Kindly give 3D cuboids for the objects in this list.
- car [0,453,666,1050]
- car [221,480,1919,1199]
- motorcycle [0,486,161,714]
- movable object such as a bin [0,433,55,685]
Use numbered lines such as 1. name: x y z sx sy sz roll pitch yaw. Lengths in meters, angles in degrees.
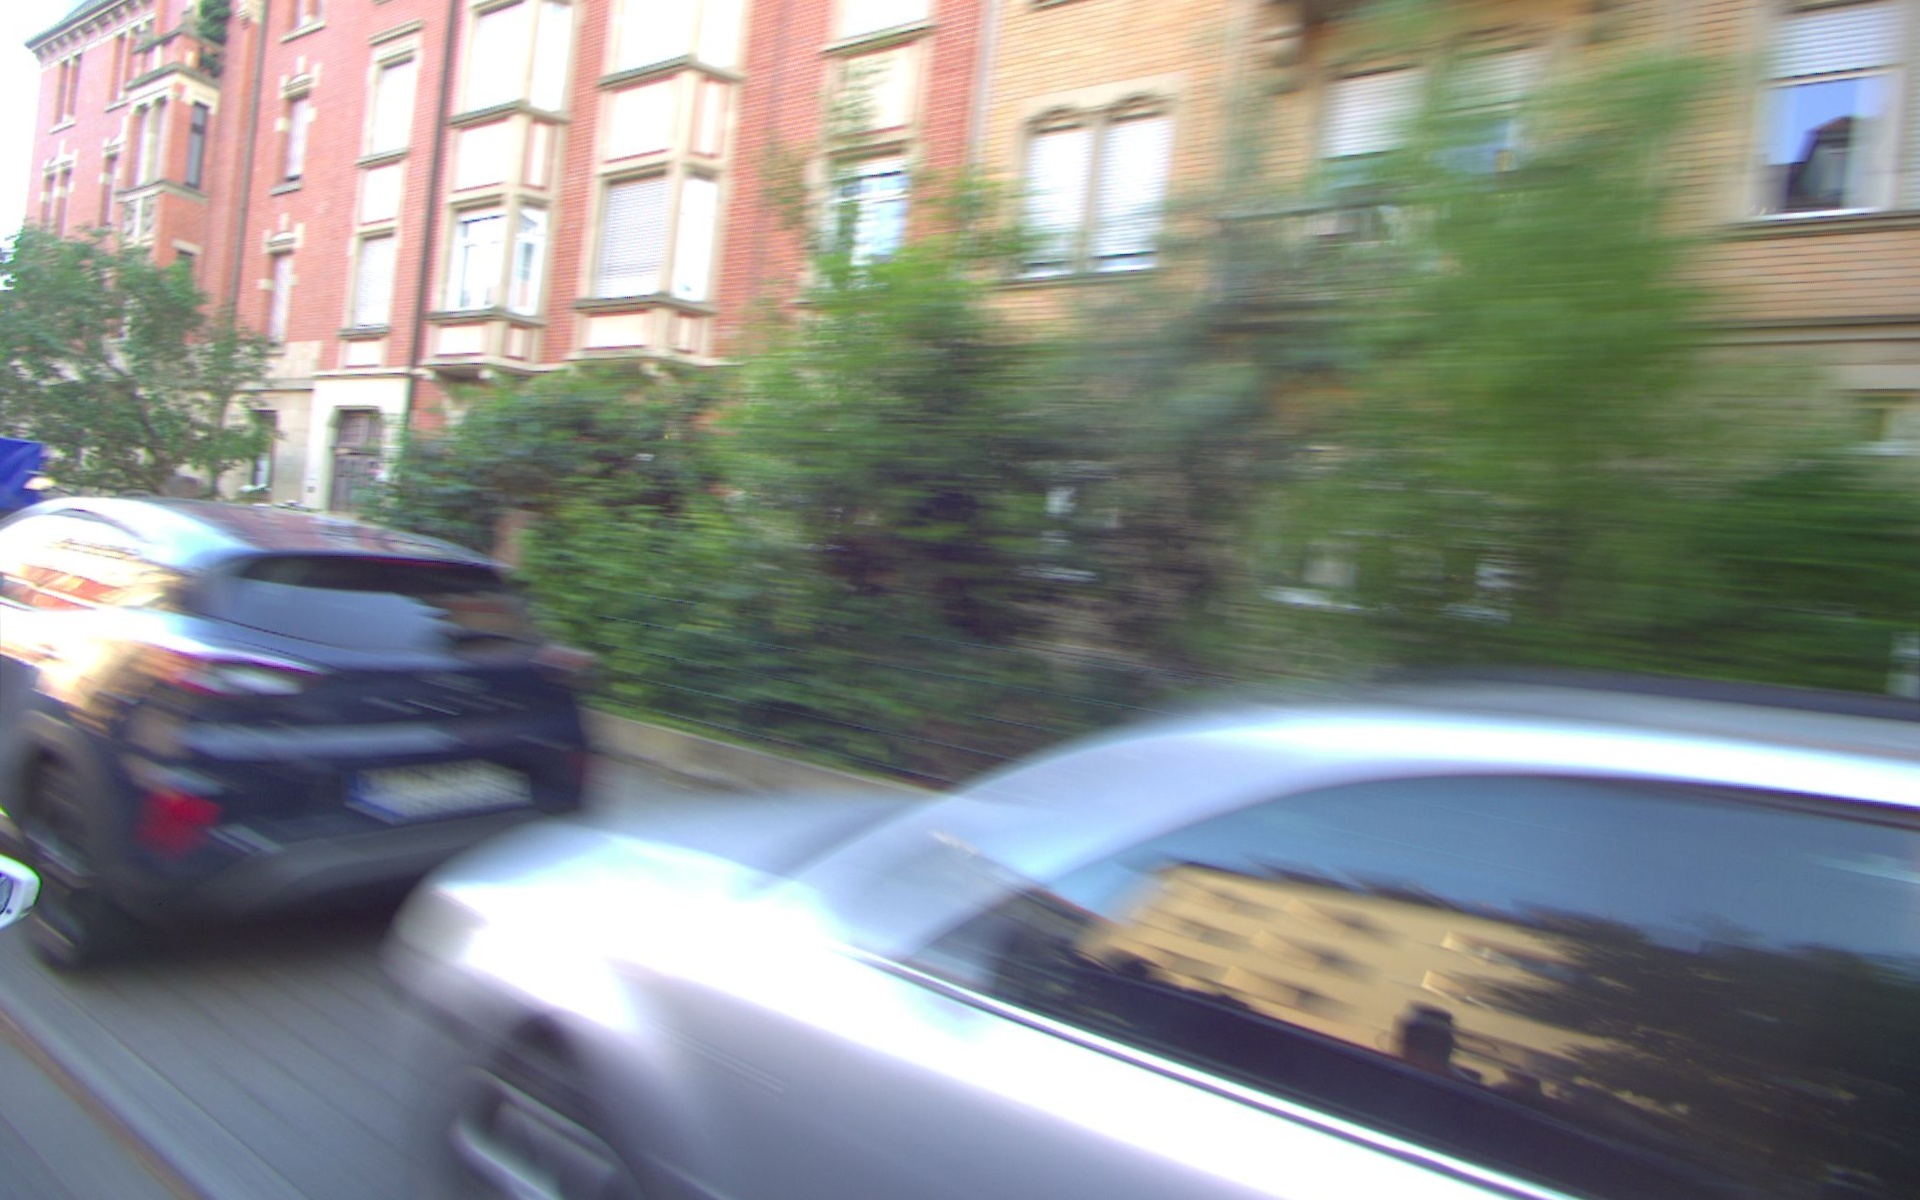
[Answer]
1. car: -3.510 0.288 4.568 4.256 1.569 1.722 7 -1 34
2. car: 0.801 0.830 1.770 4.764 1.600 1.759 7 -2 34
3. motorcycle: -6.824 -0.052 6.792 1.112 1.501 2.093 6 1 -1
4. movable object such as a bin: -8.456 -0.432 7.840 2.286 1.902 1.413 7 2 31
